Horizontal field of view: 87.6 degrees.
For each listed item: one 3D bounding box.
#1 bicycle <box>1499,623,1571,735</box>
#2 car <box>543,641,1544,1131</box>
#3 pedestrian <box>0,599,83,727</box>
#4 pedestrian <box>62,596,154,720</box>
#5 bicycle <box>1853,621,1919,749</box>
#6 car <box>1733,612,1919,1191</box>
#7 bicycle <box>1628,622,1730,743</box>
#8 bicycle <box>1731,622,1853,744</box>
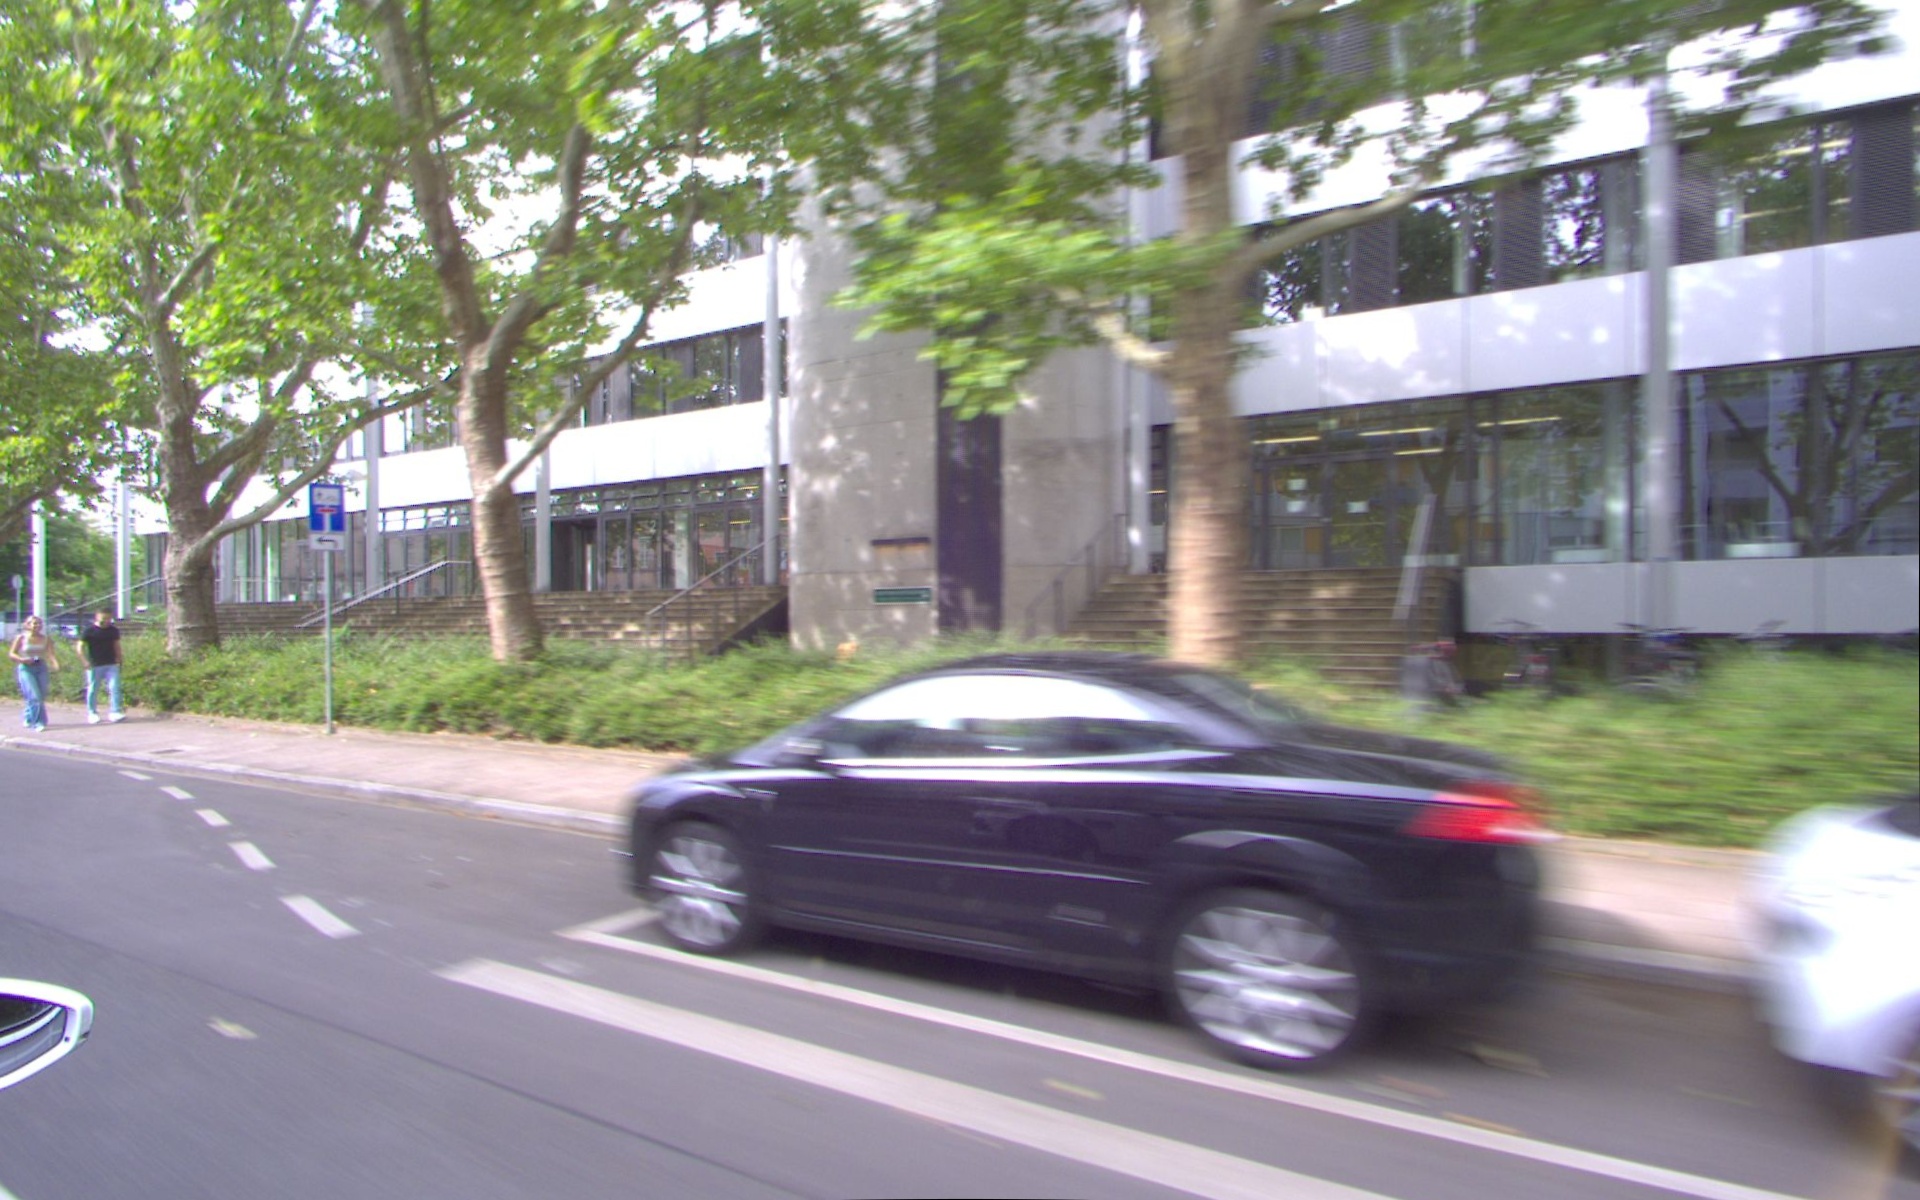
[{"bbox_3d":[6.560,0.853,11.463,0.663,1.132,1.912,0,0,29],"label":"bicycle"},{"bbox_3d":[0.221,0.943,4.802,4.352,1.443,1.697,-1,-3,27],"label":"car"},{"bbox_3d":[-13.535,0.896,14.649,1.018,1.807,0.710,-1,1,29],"label":"pedestrian"},{"bbox_3d":[-13.054,0.863,15.344,1.018,1.824,0.714,-1,1,29],"label":"pedestrian"},{"bbox_3d":[9.501,0.792,9.856,0.663,1.132,1.912,0,0,29],"label":"bicycle"},{"bbox_3d":[3.883,0.833,2.805,2.562,1.562,1.533,-1,-3,33],"label":"car"},{"bbox_3d":[7.687,0.827,10.780,0.663,1.132,2.076,0,0,29],"label":"bicycle"},{"bbox_3d":[8.799,0.823,10.664,0.663,1.132,1.912,0,0,29],"label":"bicycle"}]
